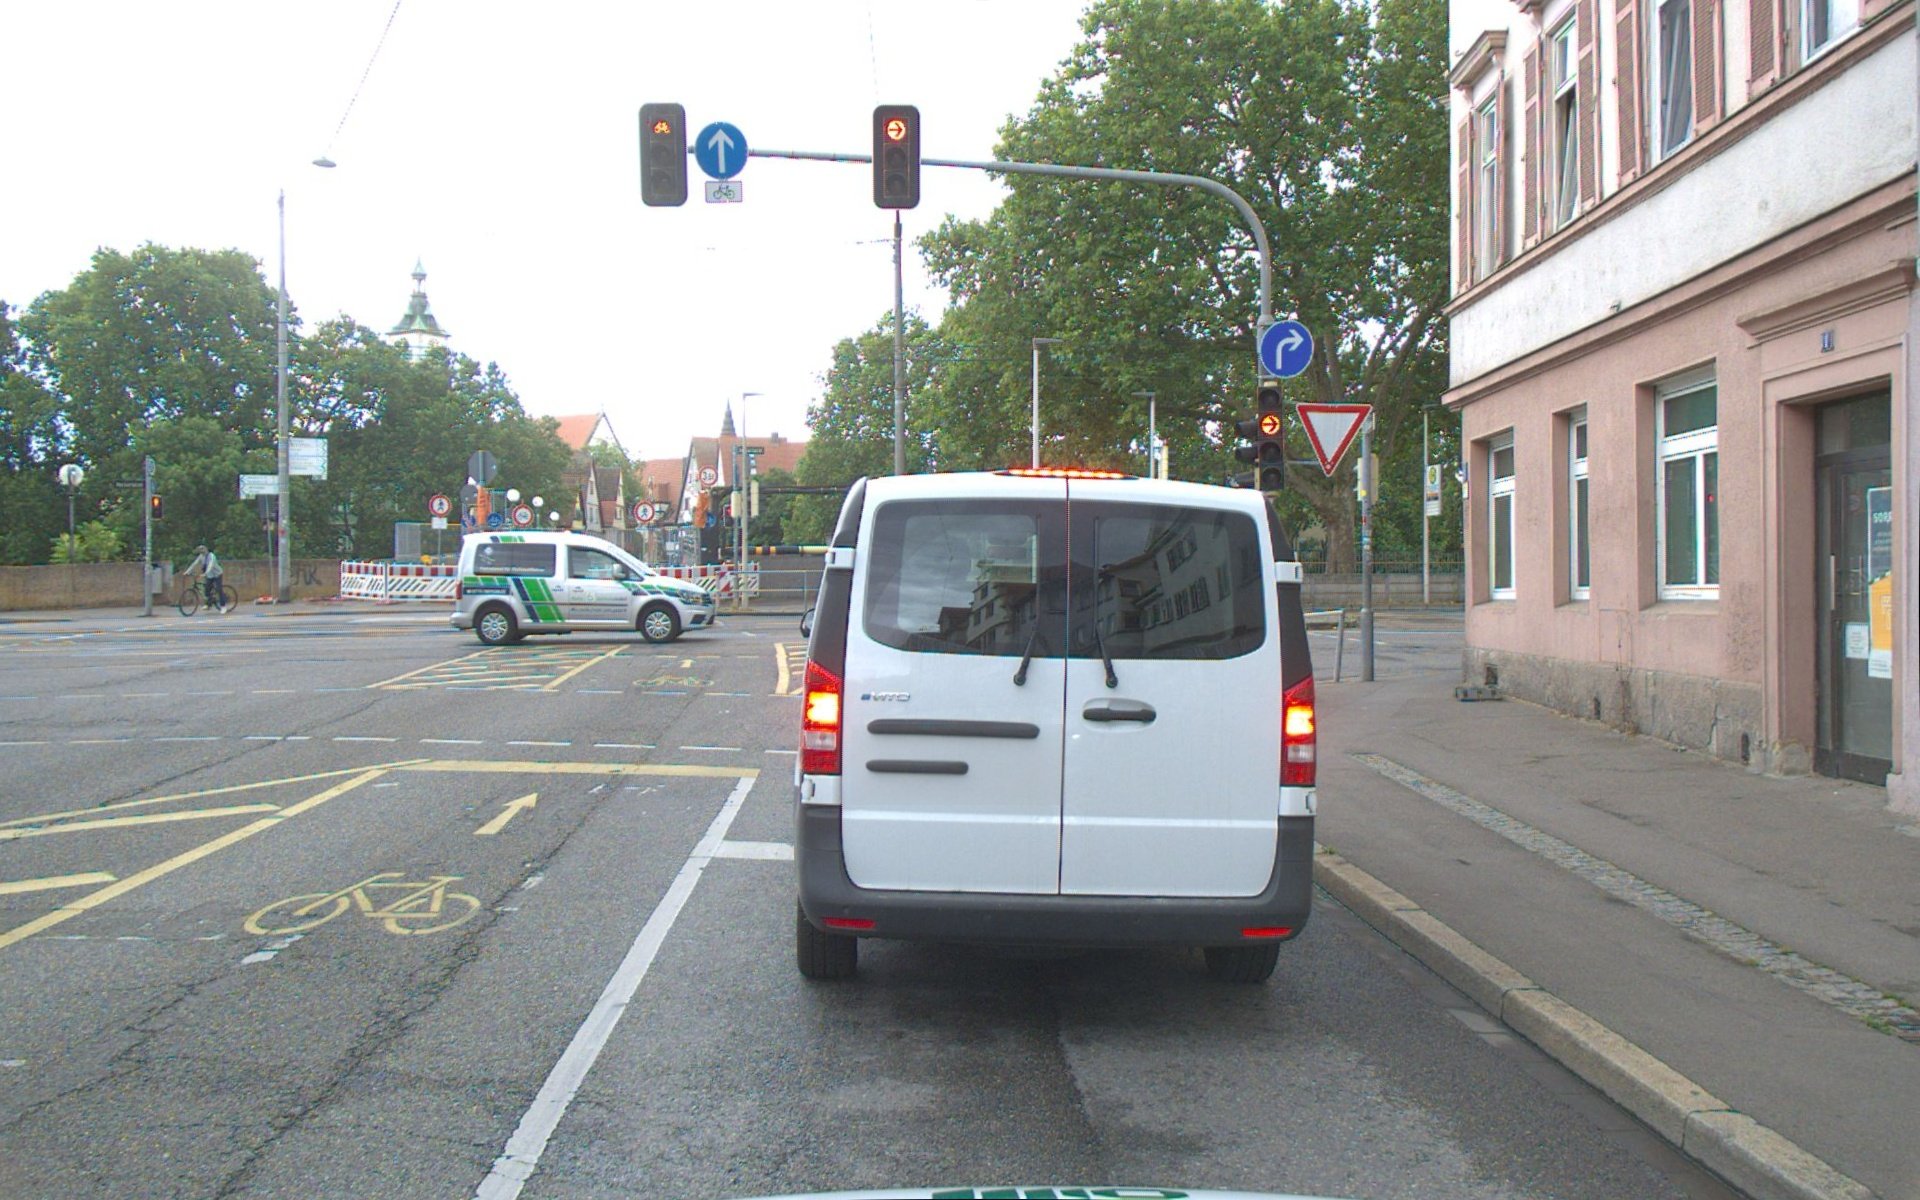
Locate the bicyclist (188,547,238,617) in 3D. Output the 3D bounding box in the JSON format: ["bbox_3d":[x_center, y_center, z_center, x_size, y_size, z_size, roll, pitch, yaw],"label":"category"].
[{"bbox_3d":[-19.314,-0.471,42.775,0.996,1.773,0.743,-1,2,-42],"label":"bicyclist"}]

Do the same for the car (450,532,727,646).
[{"bbox_3d":[-6.152,-0.206,27.842,4.261,1.834,1.999,0,1,-4],"label":"car"}]

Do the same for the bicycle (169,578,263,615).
[{"bbox_3d":[-19.258,-0.101,42.840,2.120,0.907,0.749,-2,2,-42],"label":"bicycle"}]

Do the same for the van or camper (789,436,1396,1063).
[{"bbox_3d":[0.363,0.485,7.466,1.898,1.958,4.439,1,0,-2],"label":"van or camper"}]
